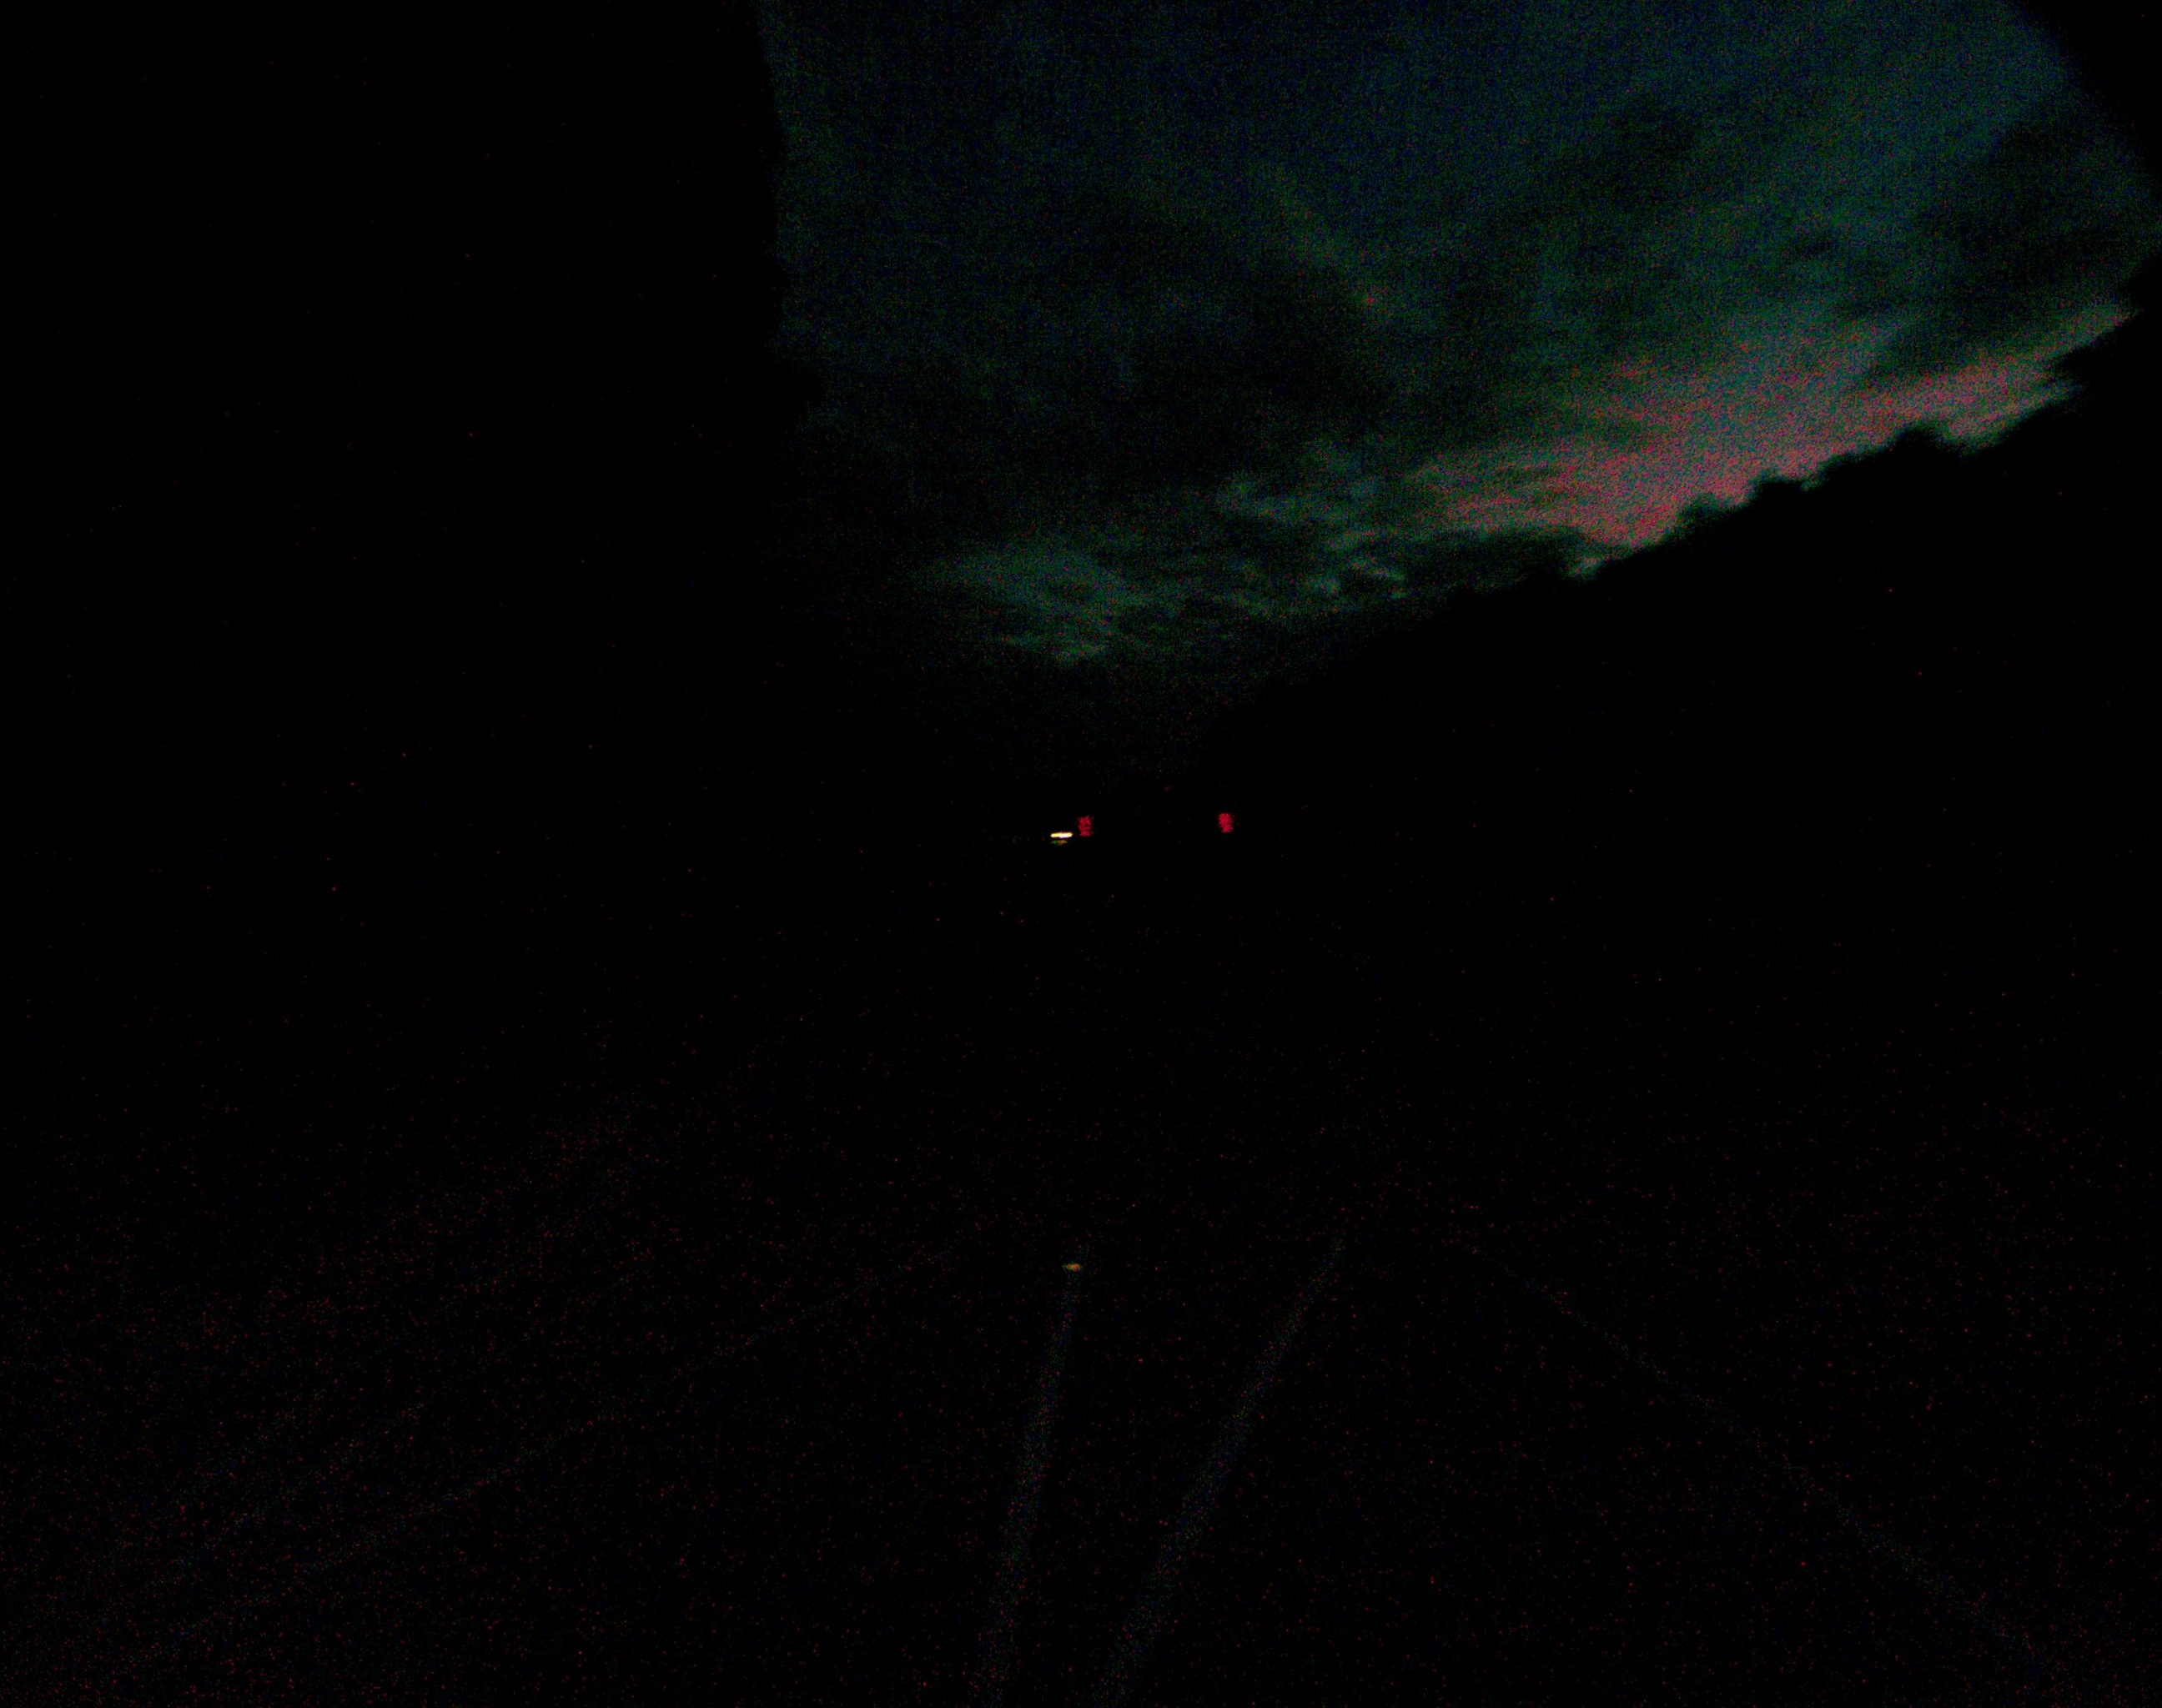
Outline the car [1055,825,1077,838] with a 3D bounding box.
[{"bbox_3d":[-2.096,-3.123,105.581,1.783,1.644,4.004,0,3,19],"label":"car"}]
